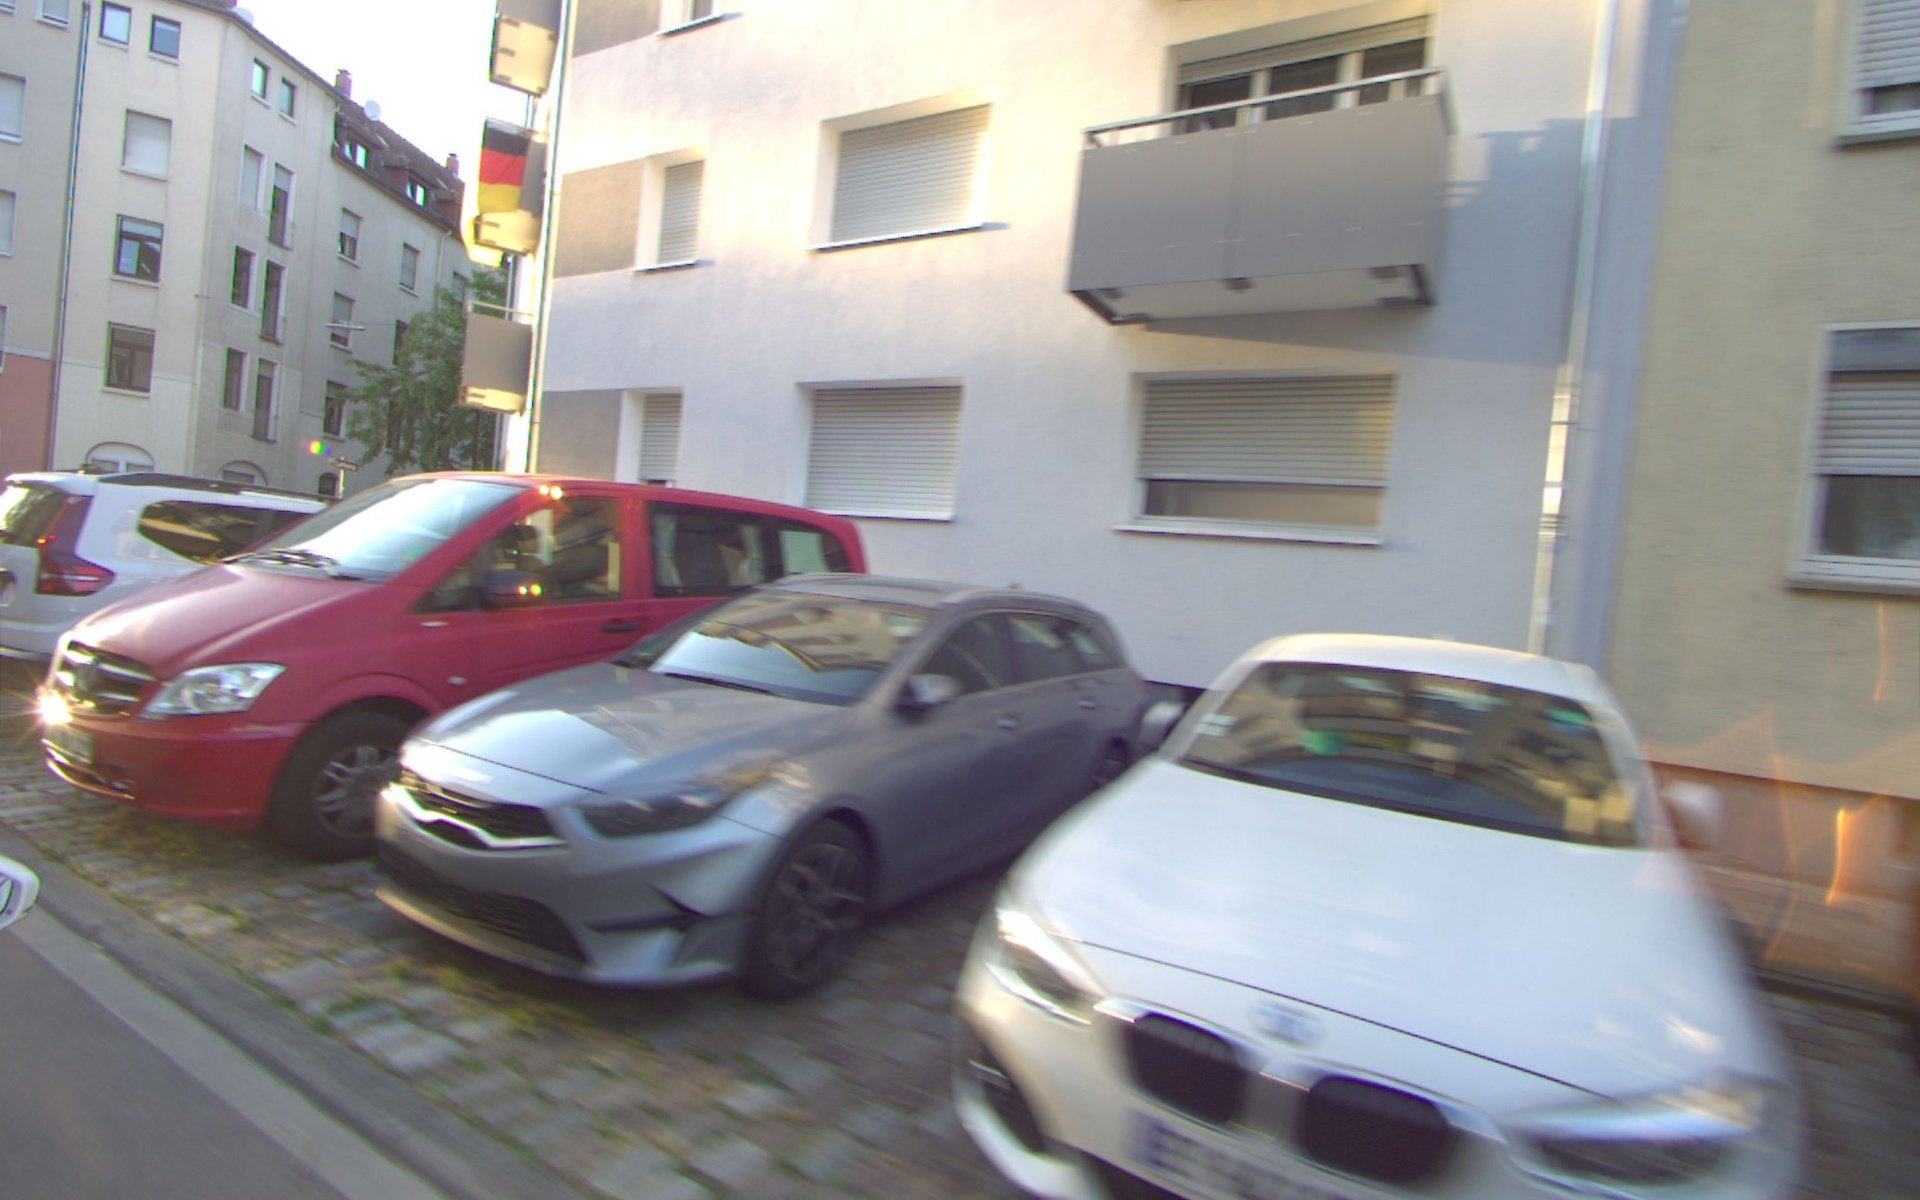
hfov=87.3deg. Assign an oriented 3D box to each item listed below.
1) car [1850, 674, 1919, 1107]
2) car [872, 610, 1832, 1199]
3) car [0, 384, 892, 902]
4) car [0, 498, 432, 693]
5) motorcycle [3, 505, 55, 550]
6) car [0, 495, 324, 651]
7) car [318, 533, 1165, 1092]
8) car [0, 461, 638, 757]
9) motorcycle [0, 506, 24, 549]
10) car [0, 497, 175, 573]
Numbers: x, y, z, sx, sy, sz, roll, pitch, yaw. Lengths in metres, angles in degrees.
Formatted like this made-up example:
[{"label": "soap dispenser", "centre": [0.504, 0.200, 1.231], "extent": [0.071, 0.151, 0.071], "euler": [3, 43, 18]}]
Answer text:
[{"label": "car", "centre": [3.492, 1.054, 2.104], "extent": [1.628, 1.469, 4.308], "euler": [5, 1, 32]}, {"label": "car", "centre": [1.496, 0.843, 3.585], "extent": [1.609, 1.435, 3.877], "euler": [5, 1, 30]}, {"label": "car", "centre": [-2.667, 0.156, 6.292], "extent": [2.025, 1.934, 4.723], "euler": [5, 1, 31]}, {"label": "car", "centre": [-7.064, -0.053, 9.024], "extent": [1.607, 1.447, 3.812], "euler": [5, 1, 31]}, {"label": "motorcycle", "centre": [-28.143, -2.160, 30.441], "extent": [0.512, 1.243, 1.969], "euler": [5, 0, -25]}, {"label": "car", "centre": [-9.101, -0.280, 10.504], "extent": [1.607, 1.447, 3.812], "euler": [5, 1, 31]}, {"label": "car", "centre": [-0.521, 0.617, 4.960], "extent": [1.609, 1.490, 4.146], "euler": [5, 1, 31]}, {"label": "car", "centre": [-4.898, 0.047, 7.932], "extent": [1.788, 1.659, 4.325], "euler": [5, 1, 31]}, {"label": "motorcycle", "centre": [-28.720, -2.195, 30.015], "extent": [0.512, 1.243, 1.969], "euler": [5, 0, -25]}, {"label": "car", "centre": [-23.485, -1.701, 26.748], "extent": [1.679, 1.594, 3.900], "euler": [6, 0, 11]}]
